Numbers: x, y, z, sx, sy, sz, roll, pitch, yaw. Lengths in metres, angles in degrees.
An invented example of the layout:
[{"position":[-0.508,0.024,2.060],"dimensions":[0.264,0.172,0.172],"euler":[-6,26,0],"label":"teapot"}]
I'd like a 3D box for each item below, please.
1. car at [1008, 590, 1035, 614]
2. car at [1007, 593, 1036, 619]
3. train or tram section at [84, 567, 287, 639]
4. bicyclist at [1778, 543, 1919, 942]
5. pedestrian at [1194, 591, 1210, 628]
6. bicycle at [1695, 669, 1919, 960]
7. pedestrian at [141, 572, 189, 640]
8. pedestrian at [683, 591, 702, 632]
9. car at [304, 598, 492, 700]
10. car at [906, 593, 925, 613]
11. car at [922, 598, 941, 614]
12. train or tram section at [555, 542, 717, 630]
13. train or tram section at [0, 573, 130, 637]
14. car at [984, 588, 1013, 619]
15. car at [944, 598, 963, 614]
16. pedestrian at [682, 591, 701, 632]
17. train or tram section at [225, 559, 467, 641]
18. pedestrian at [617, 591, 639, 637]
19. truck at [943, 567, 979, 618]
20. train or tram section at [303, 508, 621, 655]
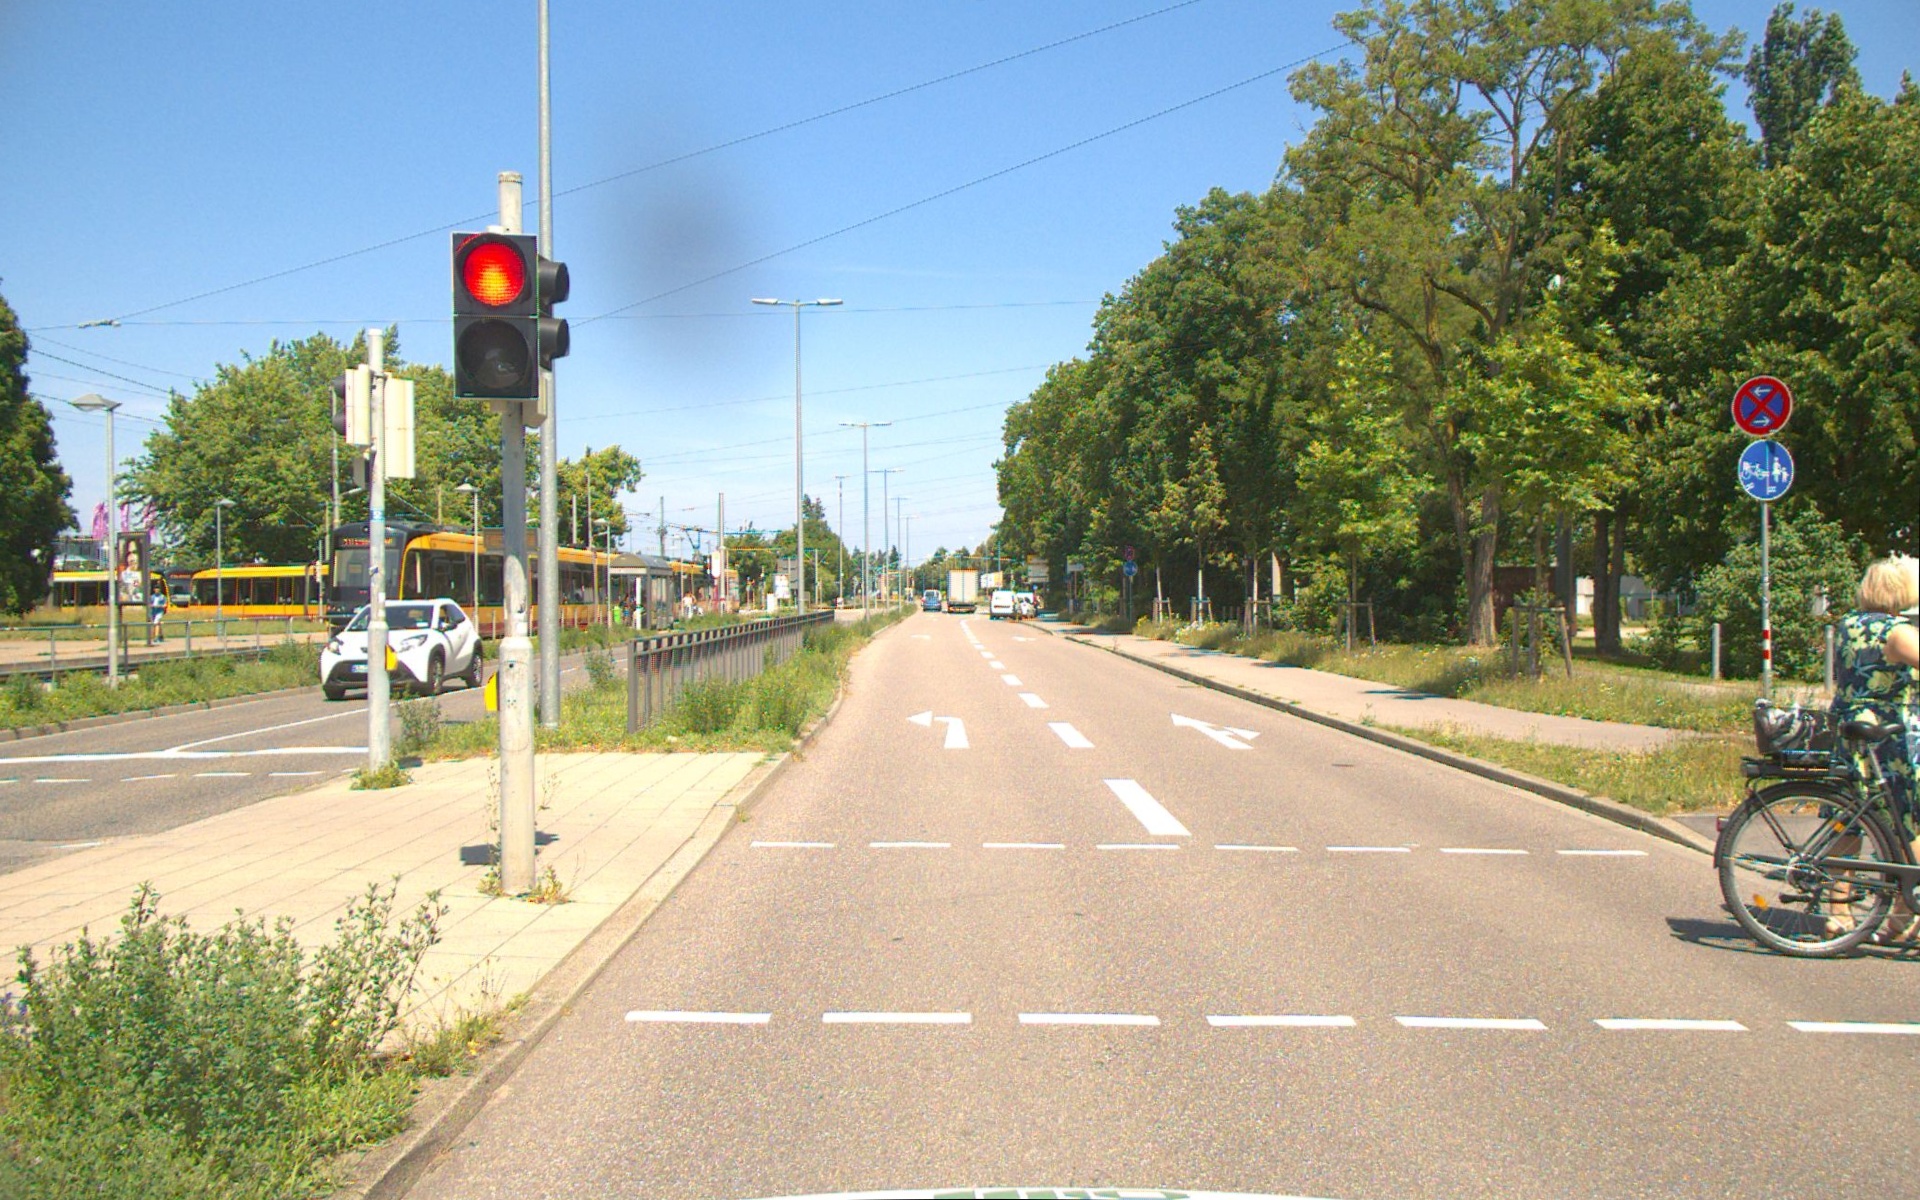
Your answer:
[{"position":[4.394,0.118,118.850],"dimensions":[1.743,1.698,3.999],"euler":[0,0,-1],"label":"car"},{"position":[4.170,0.398,112.498],"dimensions":[1.743,1.698,3.999],"euler":[0,0,-1],"label":"car"},{"position":[-46.692,0.174,99.144],"dimensions":[18.141,4.000,3.212],"euler":[0,0,38],"label":"train or tram section"},{"position":[4.208,0.609,7.306],"dimensions":[0.937,1.696,0.581],"euler":[-1,-2,16],"label":"bicyclist"},{"position":[9.413,0.365,64.293],"dimensions":[0.591,1.463,0.556],"euler":[0,0,6],"label":"pedestrian"},{"position":[4.216,0.892,7.023],"dimensions":[1.916,1.182,0.541],"euler":[-1,-2,16],"label":"bicycle"},{"position":[-24.419,0.186,50.811],"dimensions":[0.961,2.049,1.021],"euler":[0,0,-1],"label":"pedestrian"},{"position":[-13.475,0.589,83.434],"dimensions":[0.798,2.049,0.938],"euler":[0,0,-1],"label":"pedestrian"},{"position":[-9.034,0.739,26.894],"dimensions":[1.807,1.521,3.790],"euler":[0,0,-1],"label":"car"},{"position":[-4.713,0.332,175.084],"dimensions":[1.953,2.049,3.999],"euler":[0,0,-1],"label":"car"},{"position":[-2.700,0.521,157.831],"dimensions":[1.774,1.490,3.999],"euler":[0,0,-1],"label":"car"},{"position":[-16.745,-0.680,89.666],"dimensions":[2.871,3.856,33.080],"euler":[0,0,-1],"label":"train or tram section"},{"position":[-61.936,0.313,110.282],"dimensions":[18.112,4.000,3.217],"euler":[0,0,33],"label":"train or tram section"},{"position":[2.442,0.220,105.545],"dimensions":[1.743,1.937,3.999],"euler":[0,0,-1],"label":"car"},{"position":[-0.604,0.562,153.595],"dimensions":[1.774,1.490,3.999],"euler":[0,0,-1],"label":"car"},{"position":[-13.752,0.590,84.723],"dimensions":[0.798,2.049,0.938],"euler":[0,0,-1],"label":"pedestrian"},{"position":[-32.916,-0.005,87.758],"dimensions":[18.145,4.000,3.211],"euler":[0,0,39],"label":"train or tram section"},{"position":[-13.858,0.591,69.075],"dimensions":[0.769,1.901,0.817],"euler":[0,0,-1],"label":"pedestrian"},{"position":[0.057,-0.642,146.117],"dimensions":[3.140,4.435,6.559],"euler":[0,0,-1],"label":"truck"},{"position":[-16.076,-0.540,58.205],"dimensions":[2.898,3.815,30.023],"euler":[0,0,-1],"label":"train or tram section"}]
